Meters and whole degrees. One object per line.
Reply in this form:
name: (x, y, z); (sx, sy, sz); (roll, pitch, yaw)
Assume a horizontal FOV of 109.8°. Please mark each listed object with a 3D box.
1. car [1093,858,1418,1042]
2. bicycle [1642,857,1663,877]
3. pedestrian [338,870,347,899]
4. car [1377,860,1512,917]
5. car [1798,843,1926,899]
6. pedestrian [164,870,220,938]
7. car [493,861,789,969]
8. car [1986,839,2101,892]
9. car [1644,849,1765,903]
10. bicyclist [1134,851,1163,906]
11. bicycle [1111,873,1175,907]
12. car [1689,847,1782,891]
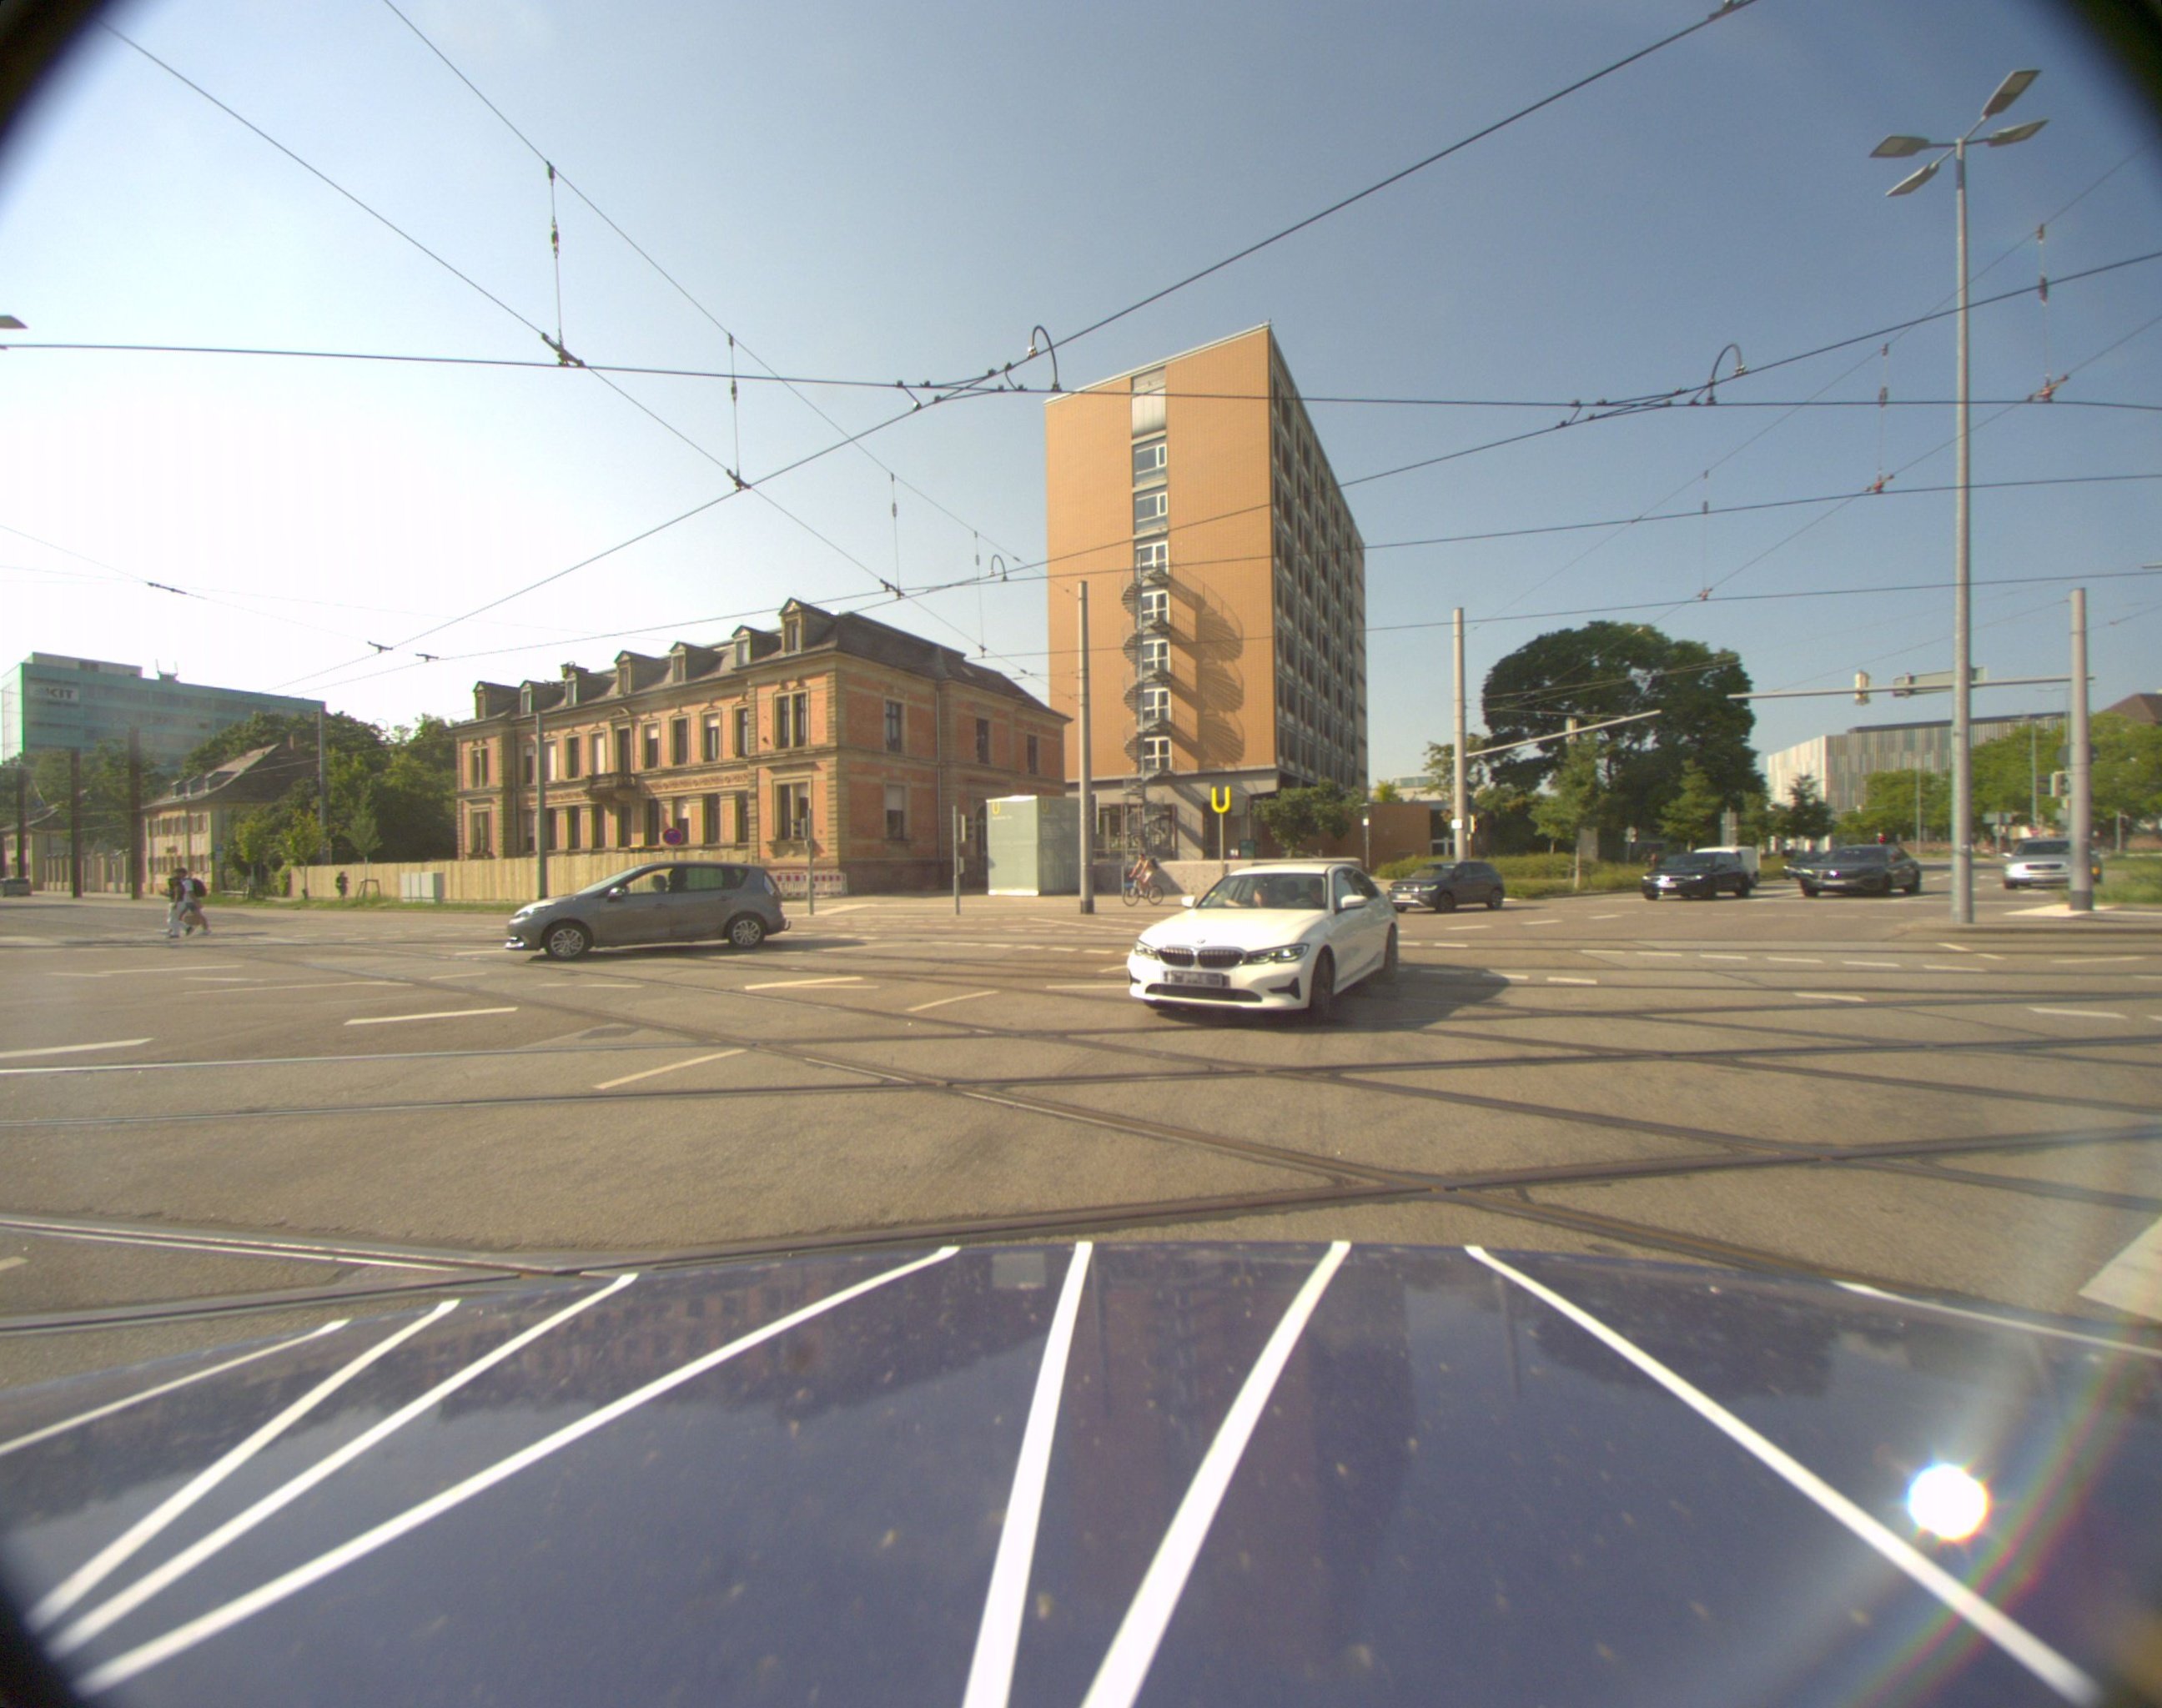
car: (2.250, 0.794, 8.467); (1.810, 1.419, 4.784); (-2, -1, 35)
bicycle: (34.109, 0.768, 45.339); (1.775, 1.187, 0.400); (-1, 0, -32)
pedestrian: (-38.787, 1.607, 39.887); (0.326, 1.521, 0.237); (-1, 0, 29)
car: (11.269, 1.025, 23.520); (3.982, 1.572, 1.740); (-1, -1, -29)
car: (26.013, 0.550, 25.276); (4.296, 1.696, 1.922); (-1, -2, -30)
pedestrian: (-22.686, 1.263, 19.400); (0.795, 1.677, 0.659); (-1, 0, -39)
car: (-7.636, 0.994, 13.600); (4.296, 1.614, 1.811); (-1, -1, -28)
car: (33.448, 0.381, 26.379); (4.297, 1.696, 1.948); (-1, -2, -32)
car: (21.377, 0.735, 26.014); (4.296, 1.696, 1.765); (-1, -2, -30)
bicyclist: (2.347, 0.846, 26.572); (0.711, 1.851, 0.781); (-1, 0, -20)
bicycle: (2.162, 1.245, 26.493); (2.189, 1.089, 0.528); (-1, 0, -20)
car: (29.449, 0.671, 34.182); (4.296, 1.874, 1.791); (-1, -2, -30)
